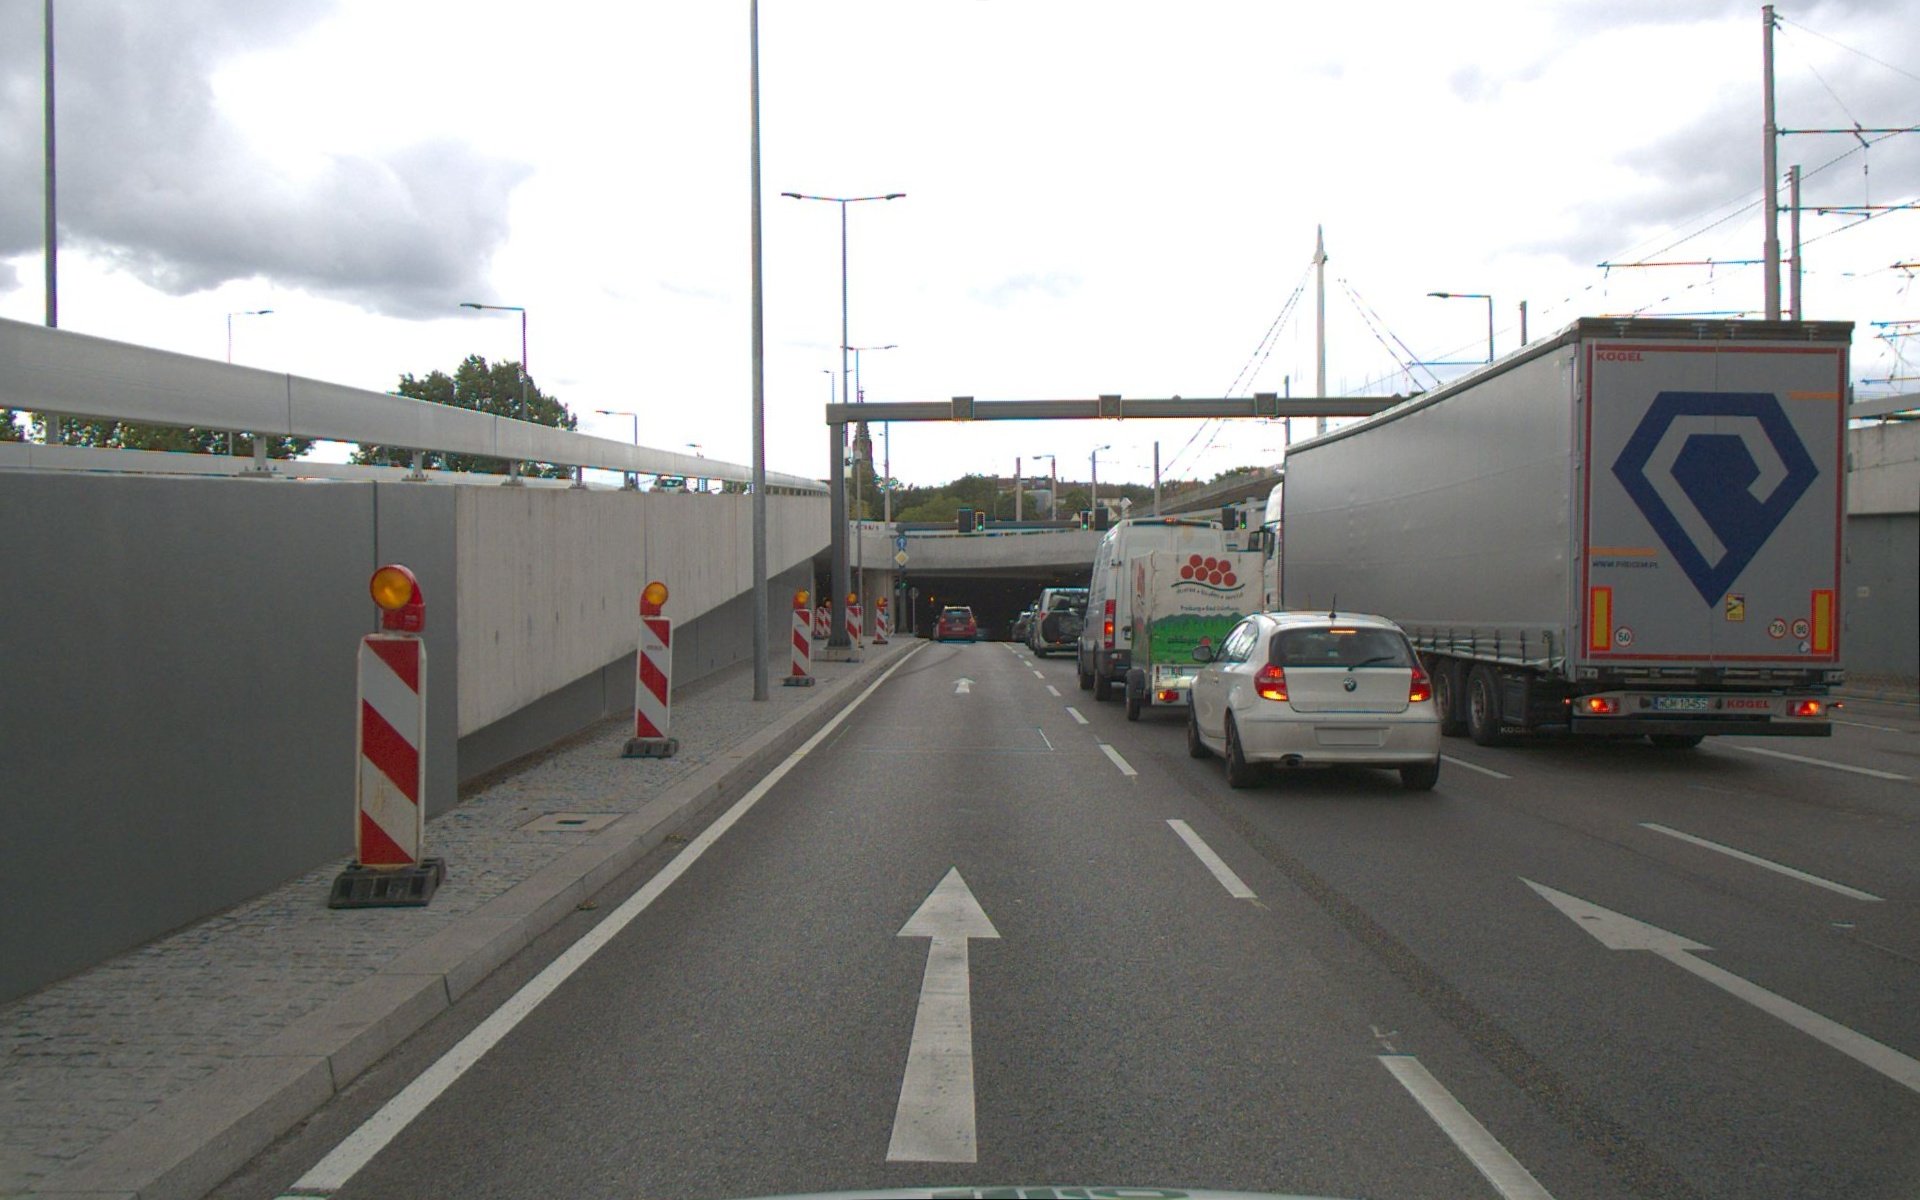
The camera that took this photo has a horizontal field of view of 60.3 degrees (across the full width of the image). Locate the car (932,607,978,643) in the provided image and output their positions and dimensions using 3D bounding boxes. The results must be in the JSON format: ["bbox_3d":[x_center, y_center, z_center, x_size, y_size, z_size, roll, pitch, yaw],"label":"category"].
[{"bbox_3d":[-0.234,1.096,72.064,1.628,1.514,3.562,0,-2,-6],"label":"car"}]

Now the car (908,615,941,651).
[{"bbox_3d":[-2.151,2.009,101.745,1.953,2.049,4.000,1,0,0],"label":"car"}]

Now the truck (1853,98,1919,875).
[{"bbox_3d":[6.896,-0.580,4.049,3.647,4.214,10.985,1,0,1],"label":"truck"}]

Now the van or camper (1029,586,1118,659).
[{"bbox_3d":[3.071,0.580,45.780,1.953,1.877,5.507,1,0,-1],"label":"van or camper"}]

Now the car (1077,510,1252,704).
[{"bbox_3d":[3.064,0.120,26.002,2.016,2.674,5.942,1,-1,0],"label":"car"}]

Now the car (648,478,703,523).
[{"bbox_3d":[-11.282,-3.927,65.729,1.709,1.457,3.772,4,-1,-4],"label":"car"}]

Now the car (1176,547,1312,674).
[{"bbox_3d":[6.804,0.201,40.516,2.033,2.821,7.326,0,0,0],"label":"car"}]

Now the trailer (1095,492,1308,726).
[{"bbox_3d":[3.096,0.127,22.271,2.060,2.685,4.810,3,-1,0],"label":"trailer"}]

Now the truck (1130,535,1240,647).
[{"bbox_3d":[6.911,-0.229,51.737,2.595,3.241,7.427,0,-1,1],"label":"truck"}]

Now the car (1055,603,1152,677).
[{"bbox_3d":[3.318,0.898,38.881,1.649,1.572,3.689,2,0,-4],"label":"car"}]

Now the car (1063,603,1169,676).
[{"bbox_3d":[3.124,0.784,33.867,1.727,1.407,4.038,0,-1,-1],"label":"car"}]

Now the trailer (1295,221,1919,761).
[{"bbox_3d":[7.333,-0.976,20.697,3.727,4.712,12.113,1,0,0],"label":"trailer"}]

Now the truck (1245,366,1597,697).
[{"bbox_3d":[7.324,-1.004,27.687,3.727,4.712,7.442,1,0,0],"label":"truck"}]

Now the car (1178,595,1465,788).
[{"bbox_3d":[3.083,0.716,14.962,1.681,1.422,4.348,2,0,1],"label":"car"}]

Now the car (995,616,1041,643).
[{"bbox_3d":[2.709,1.393,77.523,1.632,1.269,3.561,0,-1,-7],"label":"car"}]

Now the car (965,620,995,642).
[{"bbox_3d":[1.379,2.148,116.402,1.953,1.411,3.999,0,0,-2],"label":"car"}]
